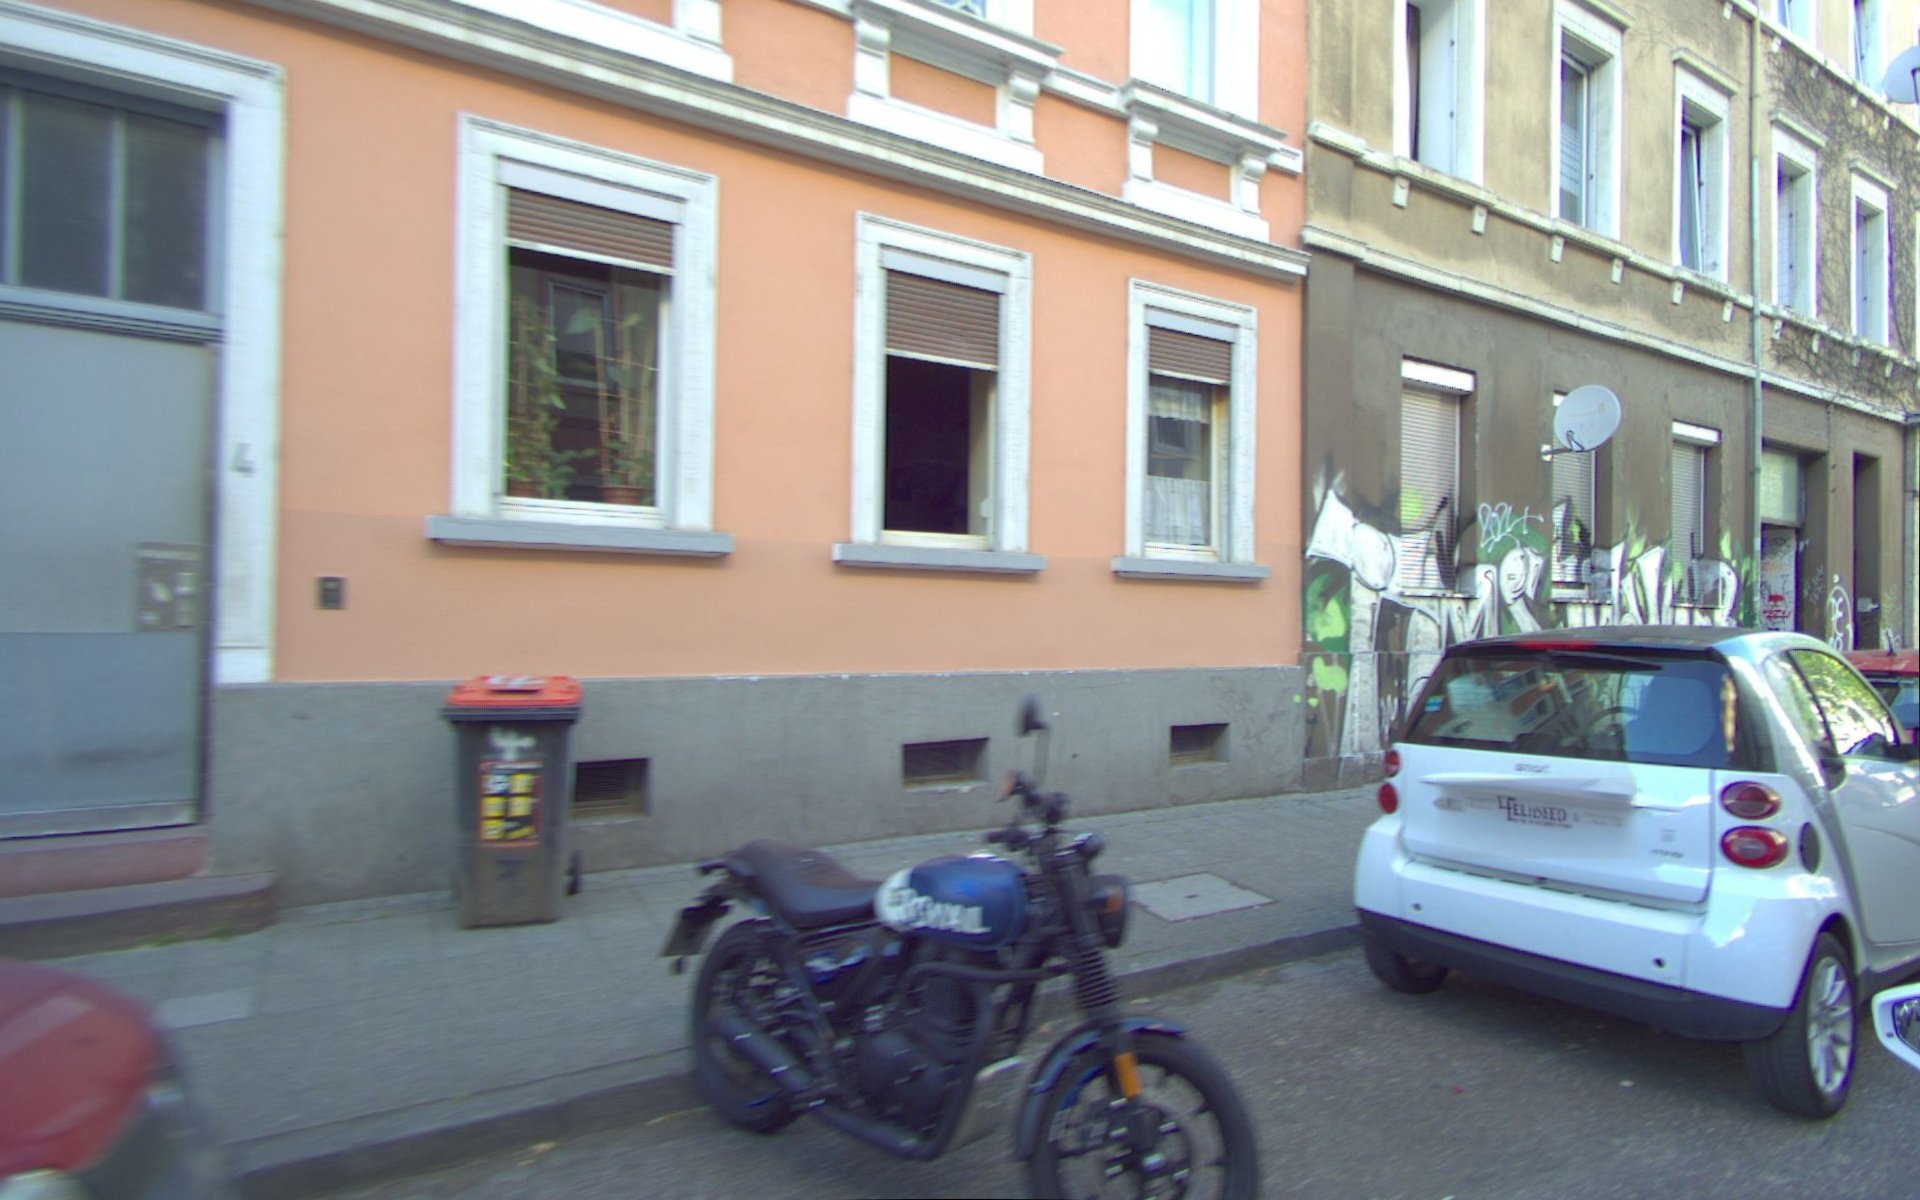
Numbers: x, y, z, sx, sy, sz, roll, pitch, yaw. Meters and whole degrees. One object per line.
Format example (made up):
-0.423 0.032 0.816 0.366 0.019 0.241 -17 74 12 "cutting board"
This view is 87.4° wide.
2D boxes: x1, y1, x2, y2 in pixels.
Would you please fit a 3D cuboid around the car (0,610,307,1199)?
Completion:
-2.796 0.741 0.947 3.572 1.512 1.670 2 -1 -32 "car"

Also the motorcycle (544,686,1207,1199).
-0.370 0.935 3.110 2.049 1.143 0.787 2 0 38 "motorcycle"

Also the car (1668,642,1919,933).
6.538 1.027 6.537 4.157 1.492 1.670 2 -3 -32 "car"

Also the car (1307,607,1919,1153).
3.157 0.864 4.442 2.930 1.569 1.669 2 -2 -35 "car"

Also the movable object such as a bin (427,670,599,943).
-2.041 0.893 4.649 0.652 1.063 0.776 1 1 -22 "movable object such as a bin"
